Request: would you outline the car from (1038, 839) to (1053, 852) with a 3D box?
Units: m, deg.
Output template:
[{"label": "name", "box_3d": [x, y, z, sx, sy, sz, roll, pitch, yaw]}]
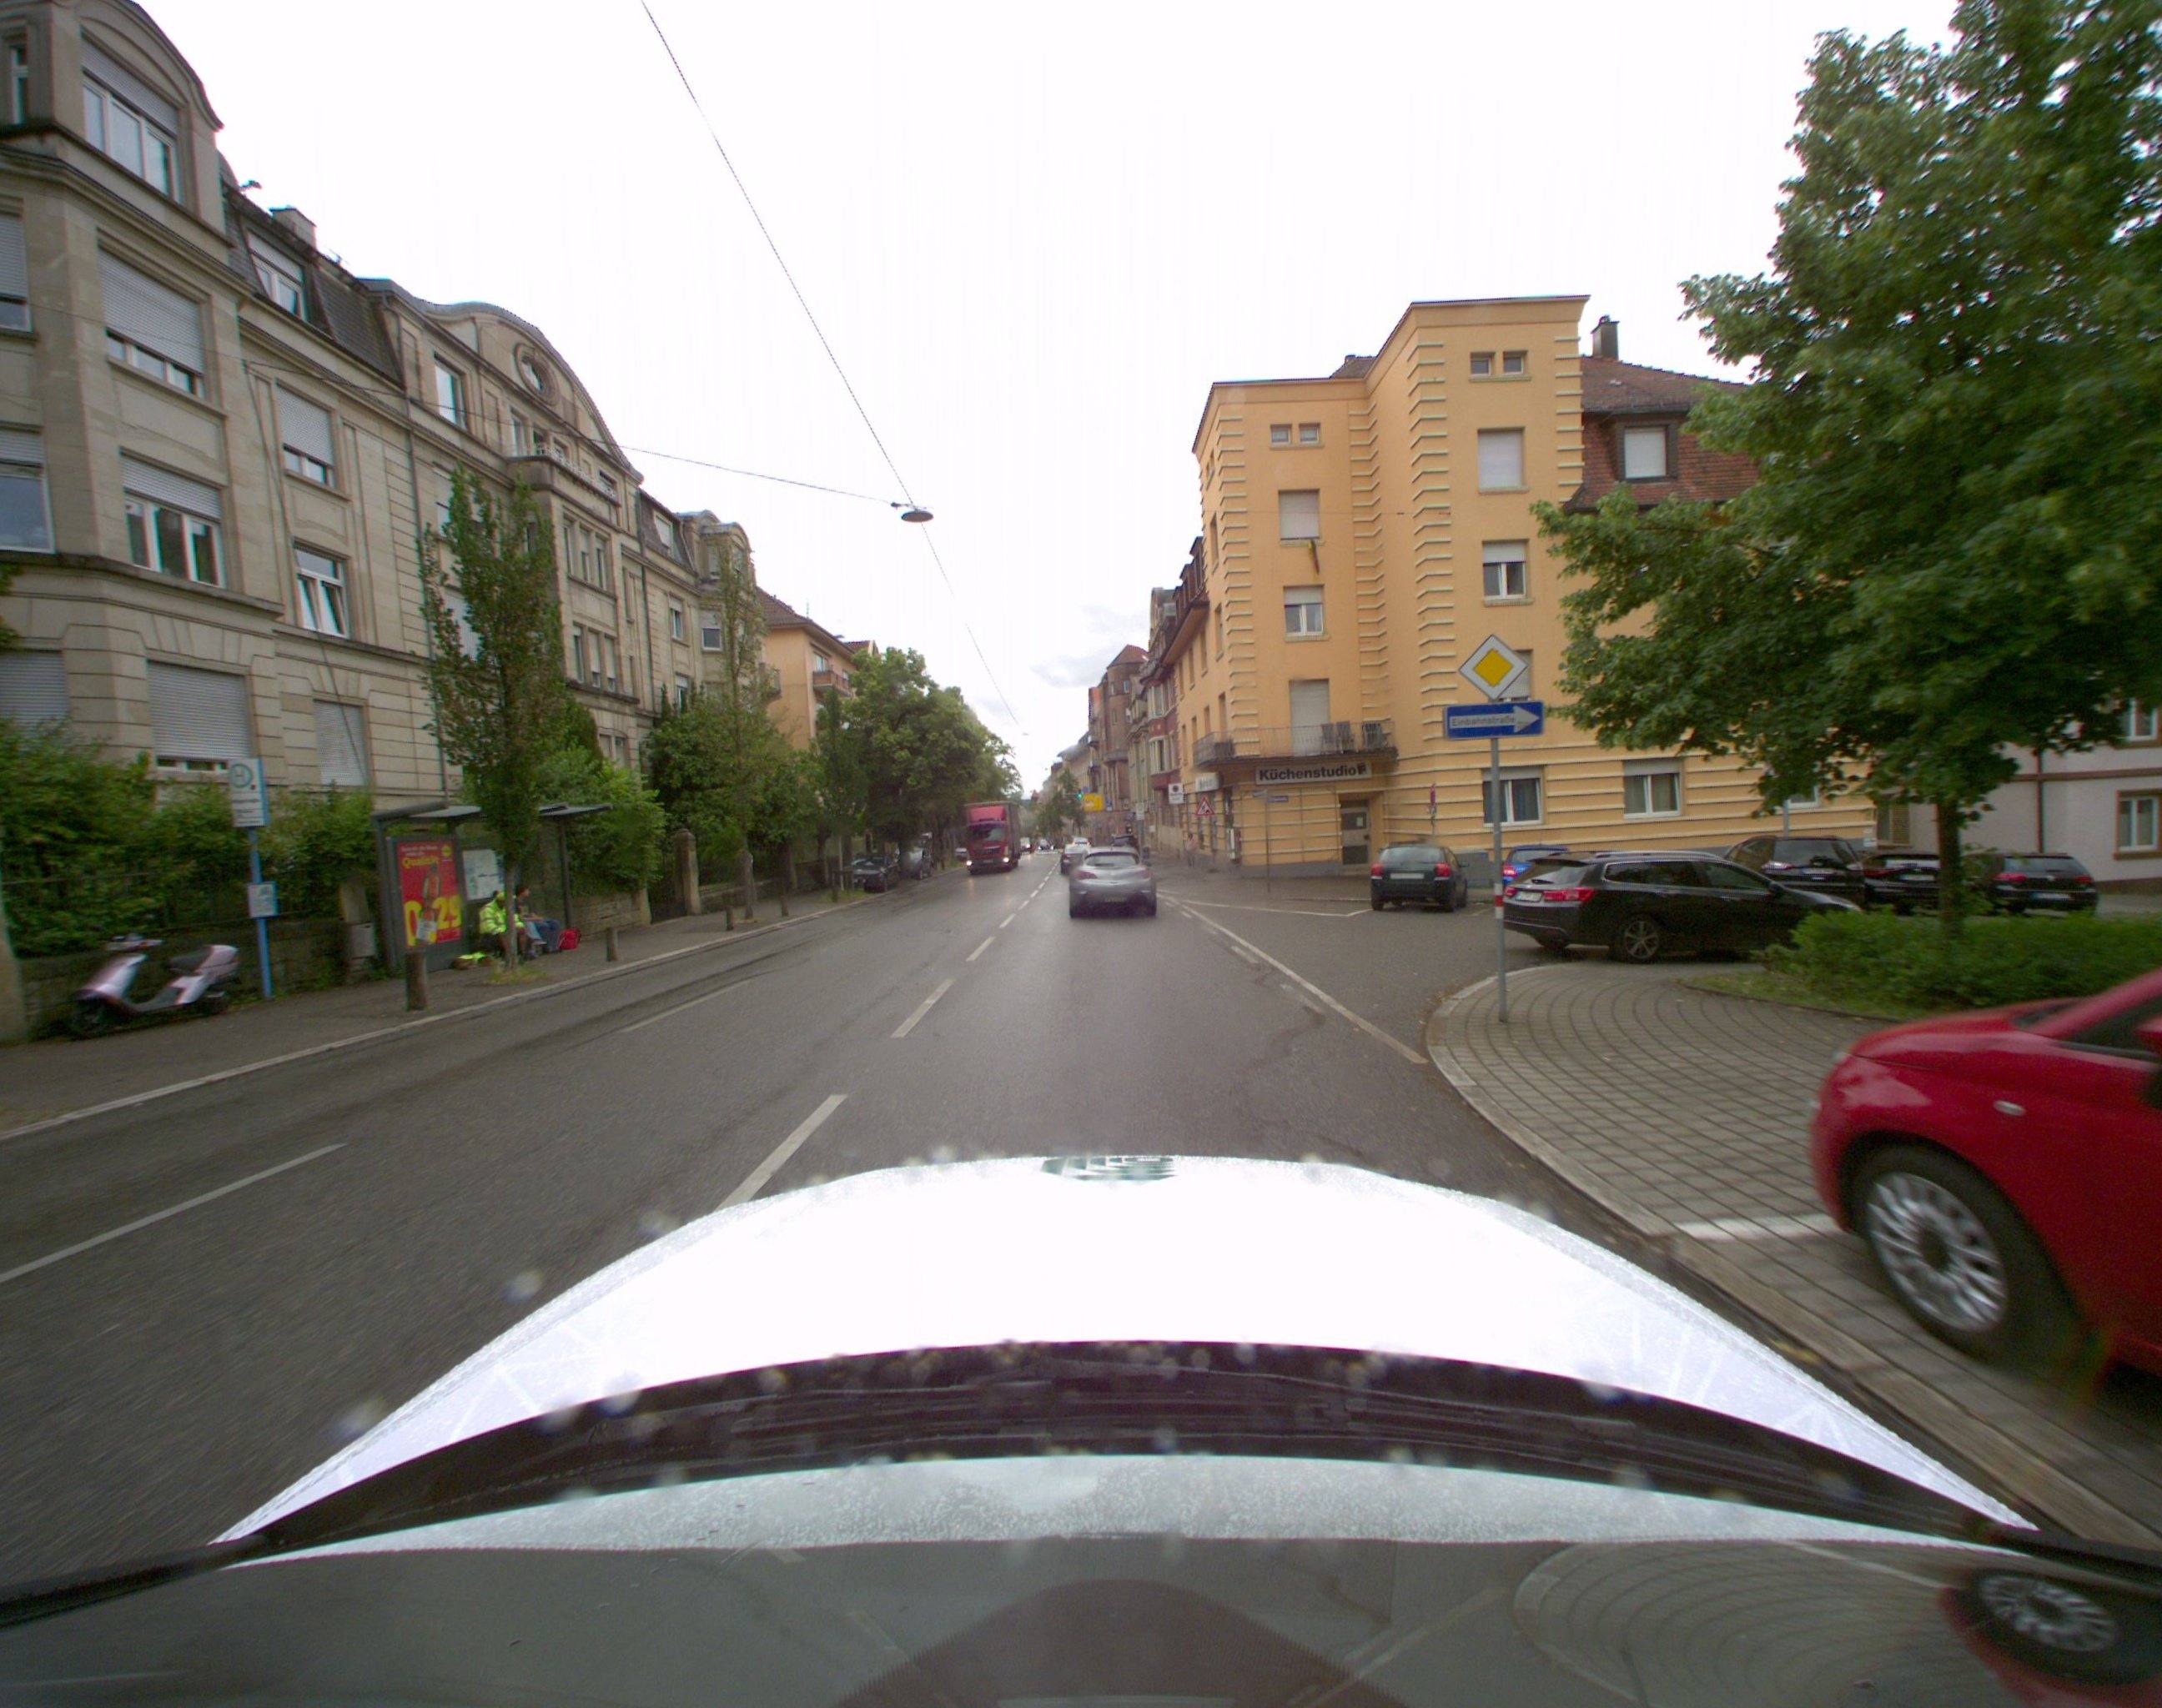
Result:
[{"label": "car", "box_3d": [-4.530, -1.147, 102.966, 1.811, 1.517, 4.544, -2, 2, -2]}]

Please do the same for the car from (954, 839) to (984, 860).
[{"label": "car", "box_3d": [-8.754, -0.393, 63.983, 1.735, 1.559, 4.302, -2, 1, 0]}]

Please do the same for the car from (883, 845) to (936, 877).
[{"label": "car", "box_3d": [-8.846, 0.320, 42.382, 1.735, 1.559, 4.302, -2, 1, 0]}]

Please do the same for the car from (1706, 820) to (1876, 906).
[{"label": "car", "box_3d": [16.320, 0.096, 19.008, 1.688, 1.724, 4.566, -1, 2, 24]}]

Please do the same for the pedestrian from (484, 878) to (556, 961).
[{"label": "pedestrian", "box_3d": [-10.439, 1.204, 15.170, 0.763, 1.432, 0.650, -4, 1, 2]}]

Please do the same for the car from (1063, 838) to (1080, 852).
[{"label": "car", "box_3d": [-1.168, -1.160, 103.037, 1.655, 1.542, 3.656, -6, 1, -7]}]

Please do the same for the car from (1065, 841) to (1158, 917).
[{"label": "car", "box_3d": [0.652, 0.476, 18.275, 1.805, 1.449, 3.870, -2, 1, 1]}]

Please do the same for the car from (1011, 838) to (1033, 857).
[{"label": "car", "box_3d": [-5.731, -0.625, 79.082, 1.767, 1.517, 4.590, -4, 3, -1]}]

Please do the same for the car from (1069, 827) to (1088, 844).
[{"label": "car", "box_3d": [-0.204, -1.839, 82.209, 1.651, 1.542, 3.666, -6, 1, 1]}]

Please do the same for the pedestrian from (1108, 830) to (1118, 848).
[{"label": "pedestrian", "box_3d": [3.338, -1.599, 84.158, 0.712, 1.773, 0.669, -5, 2, 17]}]

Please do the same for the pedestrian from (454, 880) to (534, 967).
[{"label": "pedestrian", "box_3d": [-10.450, 1.217, 14.530, 0.764, 1.432, 0.759, -4, 1, 0]}]

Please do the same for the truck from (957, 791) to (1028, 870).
[{"label": "truck", "box_3d": [-4.896, -1.339, 46.785, 2.639, 3.854, 9.308, -5, 1, 1]}]

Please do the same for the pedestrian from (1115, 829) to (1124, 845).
[{"label": "pedestrian", "box_3d": [3.944, -1.770, 83.894, 0.592, 1.584, 0.669, -5, 2, 18]}]

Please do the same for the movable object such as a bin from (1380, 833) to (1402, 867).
[{"label": "movable object such as a bin", "box_3d": [10.081, -0.123, 26.466, 0.503, 1.056, 0.513, -1, 6, 0]}]

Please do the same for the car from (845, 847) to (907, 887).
[{"label": "car", "box_3d": [-8.613, 0.495, 34.537, 1.737, 1.559, 4.298, -1, 1, -3]}]

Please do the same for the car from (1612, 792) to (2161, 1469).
[{"label": "car", "box_3d": [3.229, 0.604, 1.676, 1.604, 1.501, 3.958, -5, 1, 0]}]

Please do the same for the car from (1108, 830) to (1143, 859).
[{"label": "car", "box_3d": [2.849, -0.612, 53.246, 1.871, 1.629, 4.698, -6, 1, 0]}]

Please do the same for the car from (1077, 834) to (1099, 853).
[{"label": "car", "box_3d": [0.562, -0.865, 68.802, 1.766, 1.504, 3.869, -2, 1, 0]}]

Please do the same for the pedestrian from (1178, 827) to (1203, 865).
[{"label": "pedestrian", "box_3d": [4.833, -0.356, 35.995, 0.769, 1.589, 0.707, -4, 1, -19]}]

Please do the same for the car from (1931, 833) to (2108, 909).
[{"label": "car", "box_3d": [21.864, 0.344, 19.165, 1.686, 1.469, 3.636, -4, 1, 32]}]

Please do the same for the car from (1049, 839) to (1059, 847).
[{"label": "car", "box_3d": [-5.314, -2.143, 162.136, 1.636, 1.429, 3.368, -4, 1, -7]}]

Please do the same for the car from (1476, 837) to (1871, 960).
[{"label": "car", "box_3d": [8.136, 0.538, 11.445, 4.261, 1.498, 1.999, -1, 2, -6]}]

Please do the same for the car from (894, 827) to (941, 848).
[{"label": "car", "box_3d": [-17.923, -1.874, 89.236, 4.629, 2.047, 2.034, 3, 3, 14]}]

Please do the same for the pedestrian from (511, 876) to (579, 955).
[{"label": "pedestrian", "box_3d": [-10.408, 1.184, 15.828, 0.763, 1.432, 0.650, -4, 1, 2]}]

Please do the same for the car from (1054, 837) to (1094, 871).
[{"label": "car", "box_3d": [-0.305, -0.040, 39.232, 1.766, 1.504, 3.869, -2, 1, 0]}]

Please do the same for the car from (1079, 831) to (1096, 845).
[{"label": "car", "box_3d": [0.873, -2.104, 108.194, 1.655, 1.542, 3.656, -6, 1, -7]}]

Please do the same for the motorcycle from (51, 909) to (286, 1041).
[{"label": "motorcycle", "box_3d": [-10.719, 1.369, 9.680, 0.653, 1.237, 1.764, -4, 1, 3]}]

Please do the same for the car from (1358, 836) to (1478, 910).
[{"label": "car", "box_3d": [7.797, 0.386, 18.623, 1.831, 1.469, 4.136, 2, 0, 32]}]

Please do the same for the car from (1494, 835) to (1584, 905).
[{"label": "car", "box_3d": [10.903, 0.359, 19.399, 1.686, 1.492, 3.659, -1, -1, 30]}]

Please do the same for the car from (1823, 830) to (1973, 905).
[{"label": "car", "box_3d": [19.060, 0.228, 19.184, 1.686, 1.468, 3.636, 2, 4, 32]}]
